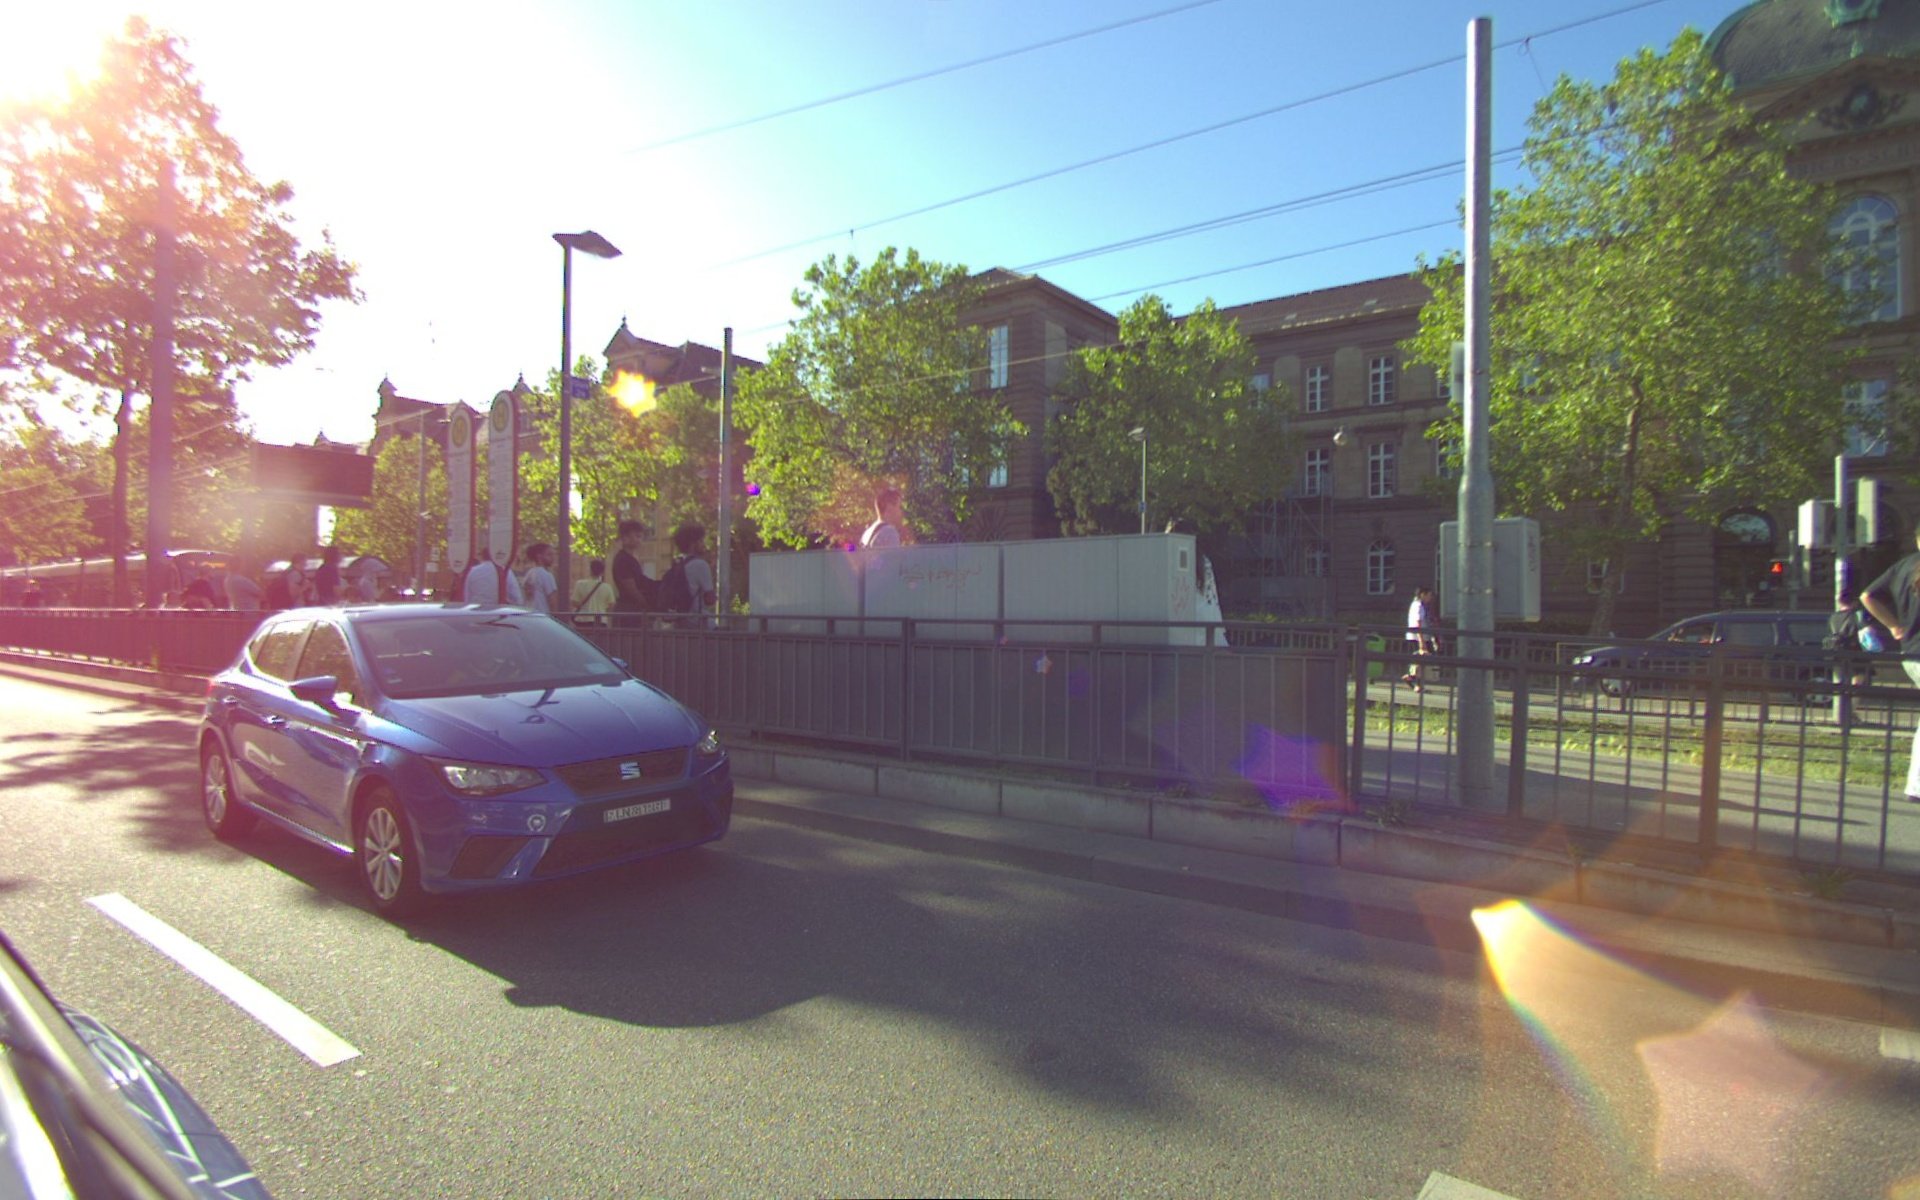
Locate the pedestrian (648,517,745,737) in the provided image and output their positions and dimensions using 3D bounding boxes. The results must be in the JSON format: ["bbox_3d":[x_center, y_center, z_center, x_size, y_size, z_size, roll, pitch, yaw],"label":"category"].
[{"bbox_3d":[-2.186,0.222,8.415,0.548,1.747,0.534,0,-2,33],"label":"pedestrian"}]

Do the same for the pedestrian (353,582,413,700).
[{"bbox_3d":[-6.662,0.463,11.686,0.506,1.326,0.412,-1,-2,35],"label":"pedestrian"}]

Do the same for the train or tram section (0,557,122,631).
[{"bbox_3d":[-49.455,-0.210,54.437,18.247,3.460,2.844,-1,0,38],"label":"train or tram section"}]

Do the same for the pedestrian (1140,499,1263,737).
[{"bbox_3d":[1.763,0.119,7.368,0.639,1.631,0.634,2,0,34],"label":"pedestrian"}]

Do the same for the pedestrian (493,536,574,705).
[{"bbox_3d":[-4.465,0.214,10.608,0.610,1.715,0.501,0,-2,33],"label":"pedestrian"}]

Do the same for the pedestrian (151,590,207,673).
[{"bbox_3d":[-12.703,0.509,16.461,0.603,1.309,0.529,0,-2,34],"label":"pedestrian"}]

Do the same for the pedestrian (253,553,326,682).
[{"bbox_3d":[-9.142,0.242,13.811,0.570,1.709,0.654,-1,-2,38],"label":"pedestrian"}]

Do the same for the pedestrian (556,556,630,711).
[{"bbox_3d":[-4.354,0.393,12.022,0.610,1.783,0.548,0,-2,33],"label":"pedestrian"}]

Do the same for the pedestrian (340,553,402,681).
[{"bbox_3d":[-8.124,0.236,13.969,0.620,1.721,0.510,-1,-2,37],"label":"pedestrian"}]

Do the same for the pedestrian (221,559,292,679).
[{"bbox_3d":[-9.999,0.269,14.387,0.570,1.646,0.654,-1,-2,38],"label":"pedestrian"}]

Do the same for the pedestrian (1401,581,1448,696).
[{"bbox_3d":[7.181,0.587,15.648,0.544,1.741,0.519,-1,-2,41],"label":"pedestrian"}]

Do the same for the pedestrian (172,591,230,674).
[{"bbox_3d":[-11.843,0.507,15.792,0.603,1.256,0.529,-1,-2,35],"label":"pedestrian"}]

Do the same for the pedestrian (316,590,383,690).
[{"bbox_3d":[-7.574,0.492,12.560,0.530,1.201,0.540,-1,-2,37],"label":"pedestrian"}]

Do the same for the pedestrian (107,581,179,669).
[{"bbox_3d":[-14.526,0.445,17.996,0.750,1.521,0.769,0,-2,34],"label":"pedestrian"}]

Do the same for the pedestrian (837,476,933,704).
[{"bbox_3d":[-0.593,-0.072,8.108,0.538,1.747,0.543,0,-2,33],"label":"pedestrian"}]

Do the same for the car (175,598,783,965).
[{"bbox_3d":[-2.953,0.723,5.855,3.871,1.426,1.686,-1,0,39],"label":"car"}]

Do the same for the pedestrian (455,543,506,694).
[{"bbox_3d":[-5.629,0.220,11.896,0.498,1.715,0.613,1,-2,-25],"label":"pedestrian"}]

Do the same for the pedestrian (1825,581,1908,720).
[{"bbox_3d":[11.382,0.620,12.704,0.623,1.677,0.710,2,-2,-43],"label":"pedestrian"}]

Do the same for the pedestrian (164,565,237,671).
[{"bbox_3d":[-13.098,0.312,17.469,0.721,1.766,0.769,0,-2,34],"label":"pedestrian"}]

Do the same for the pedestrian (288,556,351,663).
[{"bbox_3d":[-10.214,0.161,16.147,0.621,1.662,0.613,0,-2,33],"label":"pedestrian"}]

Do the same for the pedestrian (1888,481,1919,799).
[{"bbox_3d":[5.558,0.221,5.571,0.544,1.715,0.604,0,-2,33],"label":"pedestrian"}]

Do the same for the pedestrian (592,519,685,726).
[{"bbox_3d":[-2.832,0.199,8.934,0.538,1.747,0.543,0,-2,33],"label":"pedestrian"}]

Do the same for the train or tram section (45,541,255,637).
[{"bbox_3d":[-35.061,-0.338,43.228,18.186,3.460,2.822,-1,0,38],"label":"train or tram section"}]

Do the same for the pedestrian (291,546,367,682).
[{"bbox_3d":[-8.214,0.186,13.173,0.570,1.709,0.654,-1,-2,38],"label":"pedestrian"}]

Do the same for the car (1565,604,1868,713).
[{"bbox_3d":[13.606,0.957,18.482,4.222,1.674,1.975,1,1,37],"label":"car"}]

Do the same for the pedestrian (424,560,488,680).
[{"bbox_3d":[-6.593,0.262,13.241,0.530,1.530,0.540,-1,-2,37],"label":"pedestrian"}]
